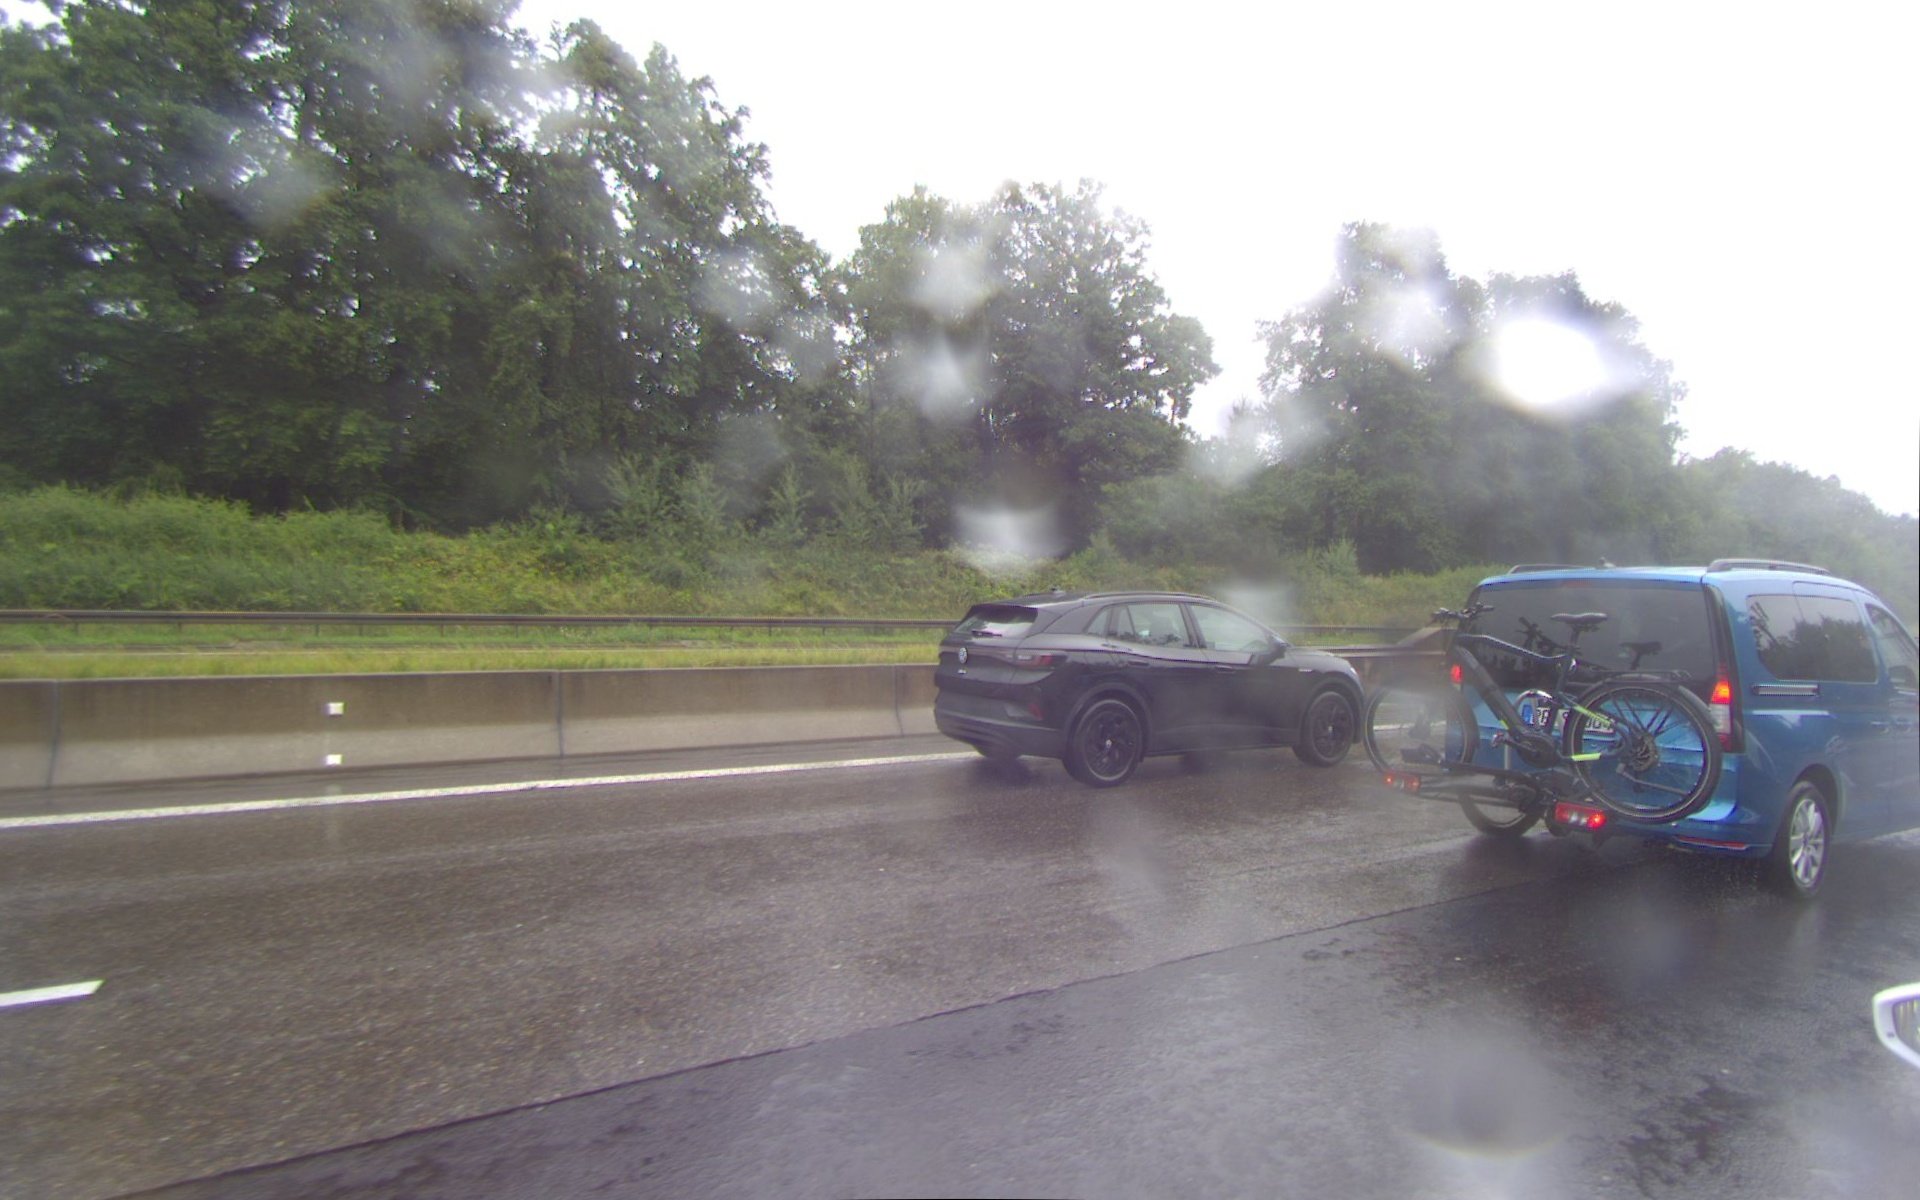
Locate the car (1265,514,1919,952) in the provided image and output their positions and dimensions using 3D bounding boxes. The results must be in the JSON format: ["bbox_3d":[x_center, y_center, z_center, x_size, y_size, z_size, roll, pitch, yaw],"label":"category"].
[{"bbox_3d":[4.660,0.621,6.649,4.955,1.937,2.259,1,0,-29],"label":"car"}]

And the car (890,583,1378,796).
[{"bbox_3d":[1.727,0.709,9.536,4.413,1.613,1.837,1,0,-30],"label":"car"}]

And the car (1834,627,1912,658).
[{"bbox_3d":[43.910,2.024,48.306,3.633,1.363,1.793,1,0,-31],"label":"car"}]
